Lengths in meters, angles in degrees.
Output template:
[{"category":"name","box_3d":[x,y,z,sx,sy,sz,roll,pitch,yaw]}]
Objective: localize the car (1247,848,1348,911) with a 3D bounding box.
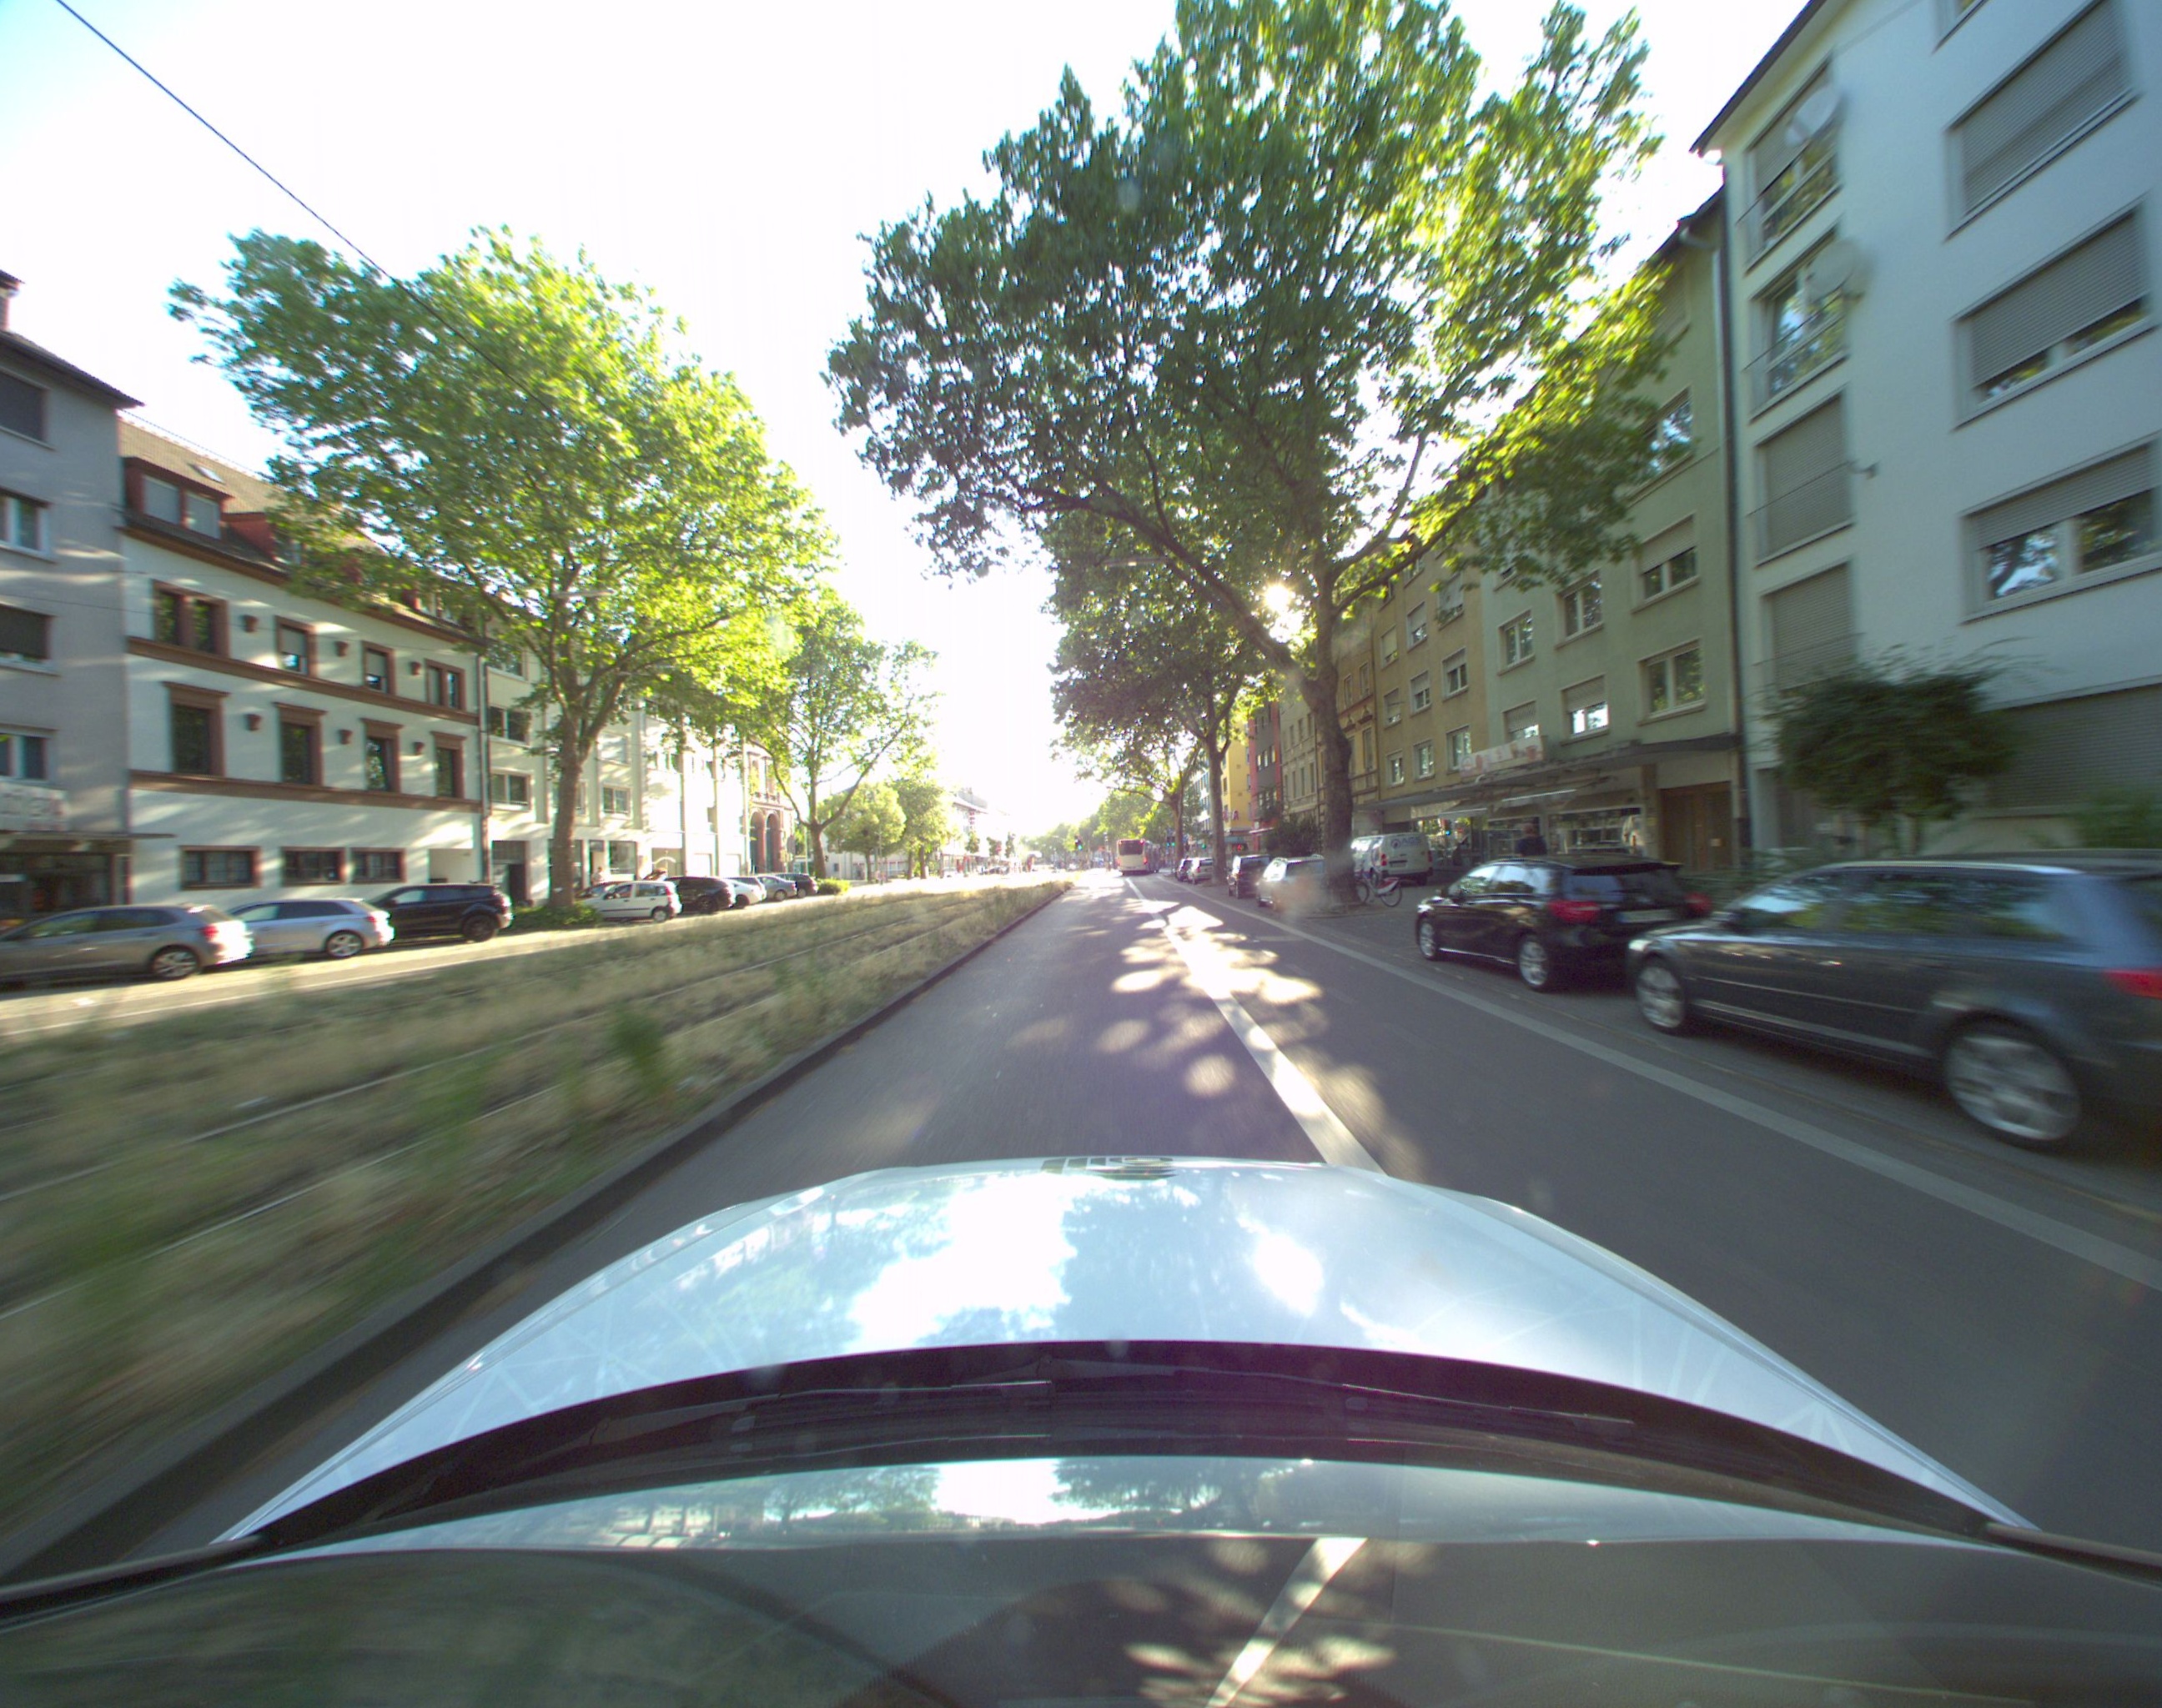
[{"category":"car","box_3d":[6.064,0.637,23.398,1.688,1.542,4.778,-3,0,1]}]

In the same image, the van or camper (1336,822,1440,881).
[{"category":"van or camper","box_3d":[11.421,-0.113,30.778,1.935,1.922,5.393,-3,0,1]}]

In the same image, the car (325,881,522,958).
[{"category":"car","box_3d":[-17.824,1.698,22.269,4.020,1.660,1.977,-2,1,-39]}]

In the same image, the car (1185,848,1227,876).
[{"category":"car","box_3d":[6.978,0.425,45.942,1.668,1.451,4.571,-3,0,0]}]

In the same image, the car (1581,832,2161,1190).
[{"category":"car","box_3d":[5.439,0.648,5.307,1.702,1.415,4.366,-5,0,2]}]

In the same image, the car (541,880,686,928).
[{"category":"car","box_3d":[-16.839,1.782,29.575,4.371,1.449,1.646,-2,0,-25]}]

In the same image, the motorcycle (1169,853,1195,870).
[{"category":"motorcycle","box_3d":[7.408,0.519,59.732,2.009,1.152,0.594,-3,0,-40]}]

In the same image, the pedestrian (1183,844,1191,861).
[{"category":"pedestrian","box_3d":[11.144,-0.125,85.573,0.677,1.770,0.687,-3,0,3]}]

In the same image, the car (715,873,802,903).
[{"category":"car","box_3d":[-17.340,1.774,43.823,4.020,1.441,1.702,0,0,-39]}]

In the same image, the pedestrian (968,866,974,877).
[{"category":"pedestrian","box_3d":[-19.918,3.168,146.878,0.704,2.013,0.951,-3,0,10]}]

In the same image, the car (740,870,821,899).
[{"category":"car","box_3d":[-17.267,1.719,46.941,4.021,1.479,1.796,0,0,-41]}]

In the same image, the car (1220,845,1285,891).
[{"category":"car","box_3d":[6.479,0.484,31.148,1.647,1.545,4.001,-3,0,1]}]

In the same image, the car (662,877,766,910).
[{"category":"car","box_3d":[-17.064,1.822,37.952,4.222,1.333,1.704,-1,0,-34]}]

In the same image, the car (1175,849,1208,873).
[{"category":"car","box_3d":[7.066,0.427,52.213,1.703,1.396,4.325,-3,0,3]}]

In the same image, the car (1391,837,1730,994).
[{"category":"car","box_3d":[5.545,0.605,10.199,1.702,1.415,4.366,-5,0,2]}]

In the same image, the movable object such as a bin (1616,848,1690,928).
[{"category":"movable object such as a bin","box_3d":[8.633,0.502,12.313,0.614,1.158,0.666,-3,0,-1]}]

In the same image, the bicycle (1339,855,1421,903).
[{"category":"bicycle","box_3d":[7.370,0.588,20.186,0.771,1.131,2.069,0,0,-19]}]

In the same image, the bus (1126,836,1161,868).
[{"category":"bus","box_3d":[6.459,-0.188,82.886,2.795,3.101,9.117,-1,0,9]}]

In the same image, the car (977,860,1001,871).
[{"category":"car","box_3d":[-16.818,2.057,148.791,4.005,1.816,1.984,-3,0,-24]}]

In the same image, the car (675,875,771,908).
[{"category":"car","box_3d":[-17.775,1.826,40.490,4.021,1.441,1.781,0,0,-41]}]

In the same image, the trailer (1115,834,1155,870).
[{"category":"trailer","box_3d":[5.020,-0.160,74.032,2.795,3.110,8.816,-1,0,9]}]

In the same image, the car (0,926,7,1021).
[{"category":"car","box_3d":[-18.709,1.977,11.401,3.995,1.492,1.940,-3,0,-16]}]

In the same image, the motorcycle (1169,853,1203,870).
[{"category":"motorcycle","box_3d":[7.403,0.541,57.554,2.213,1.063,0.762,-5,1,-20]}]

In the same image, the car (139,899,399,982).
[{"category":"car","box_3d":[-18.251,1.869,18.577,4.022,1.385,1.889,-1,0,-43]}]

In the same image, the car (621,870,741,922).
[{"category":"car","box_3d":[-16.928,1.750,34.736,4.370,1.786,1.978,-5,0,-24]}]

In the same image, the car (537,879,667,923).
[{"category":"car","box_3d":[-18.276,1.755,31.258,3.998,1.479,1.766,-1,0,-18]}]

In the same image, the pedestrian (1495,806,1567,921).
[{"category":"pedestrian","box_3d":[8.279,0.159,15.012,0.680,2.013,1.012,-3,0,1]}]

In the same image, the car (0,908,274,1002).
[{"category":"car","box_3d":[-18.461,1.870,15.560,4.014,1.422,1.739,-1,0,-32]}]

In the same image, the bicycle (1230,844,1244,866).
[{"category":"bicycle","box_3d":[10.338,0.074,53.958,0.604,1.426,2.398,-1,0,3]}]
